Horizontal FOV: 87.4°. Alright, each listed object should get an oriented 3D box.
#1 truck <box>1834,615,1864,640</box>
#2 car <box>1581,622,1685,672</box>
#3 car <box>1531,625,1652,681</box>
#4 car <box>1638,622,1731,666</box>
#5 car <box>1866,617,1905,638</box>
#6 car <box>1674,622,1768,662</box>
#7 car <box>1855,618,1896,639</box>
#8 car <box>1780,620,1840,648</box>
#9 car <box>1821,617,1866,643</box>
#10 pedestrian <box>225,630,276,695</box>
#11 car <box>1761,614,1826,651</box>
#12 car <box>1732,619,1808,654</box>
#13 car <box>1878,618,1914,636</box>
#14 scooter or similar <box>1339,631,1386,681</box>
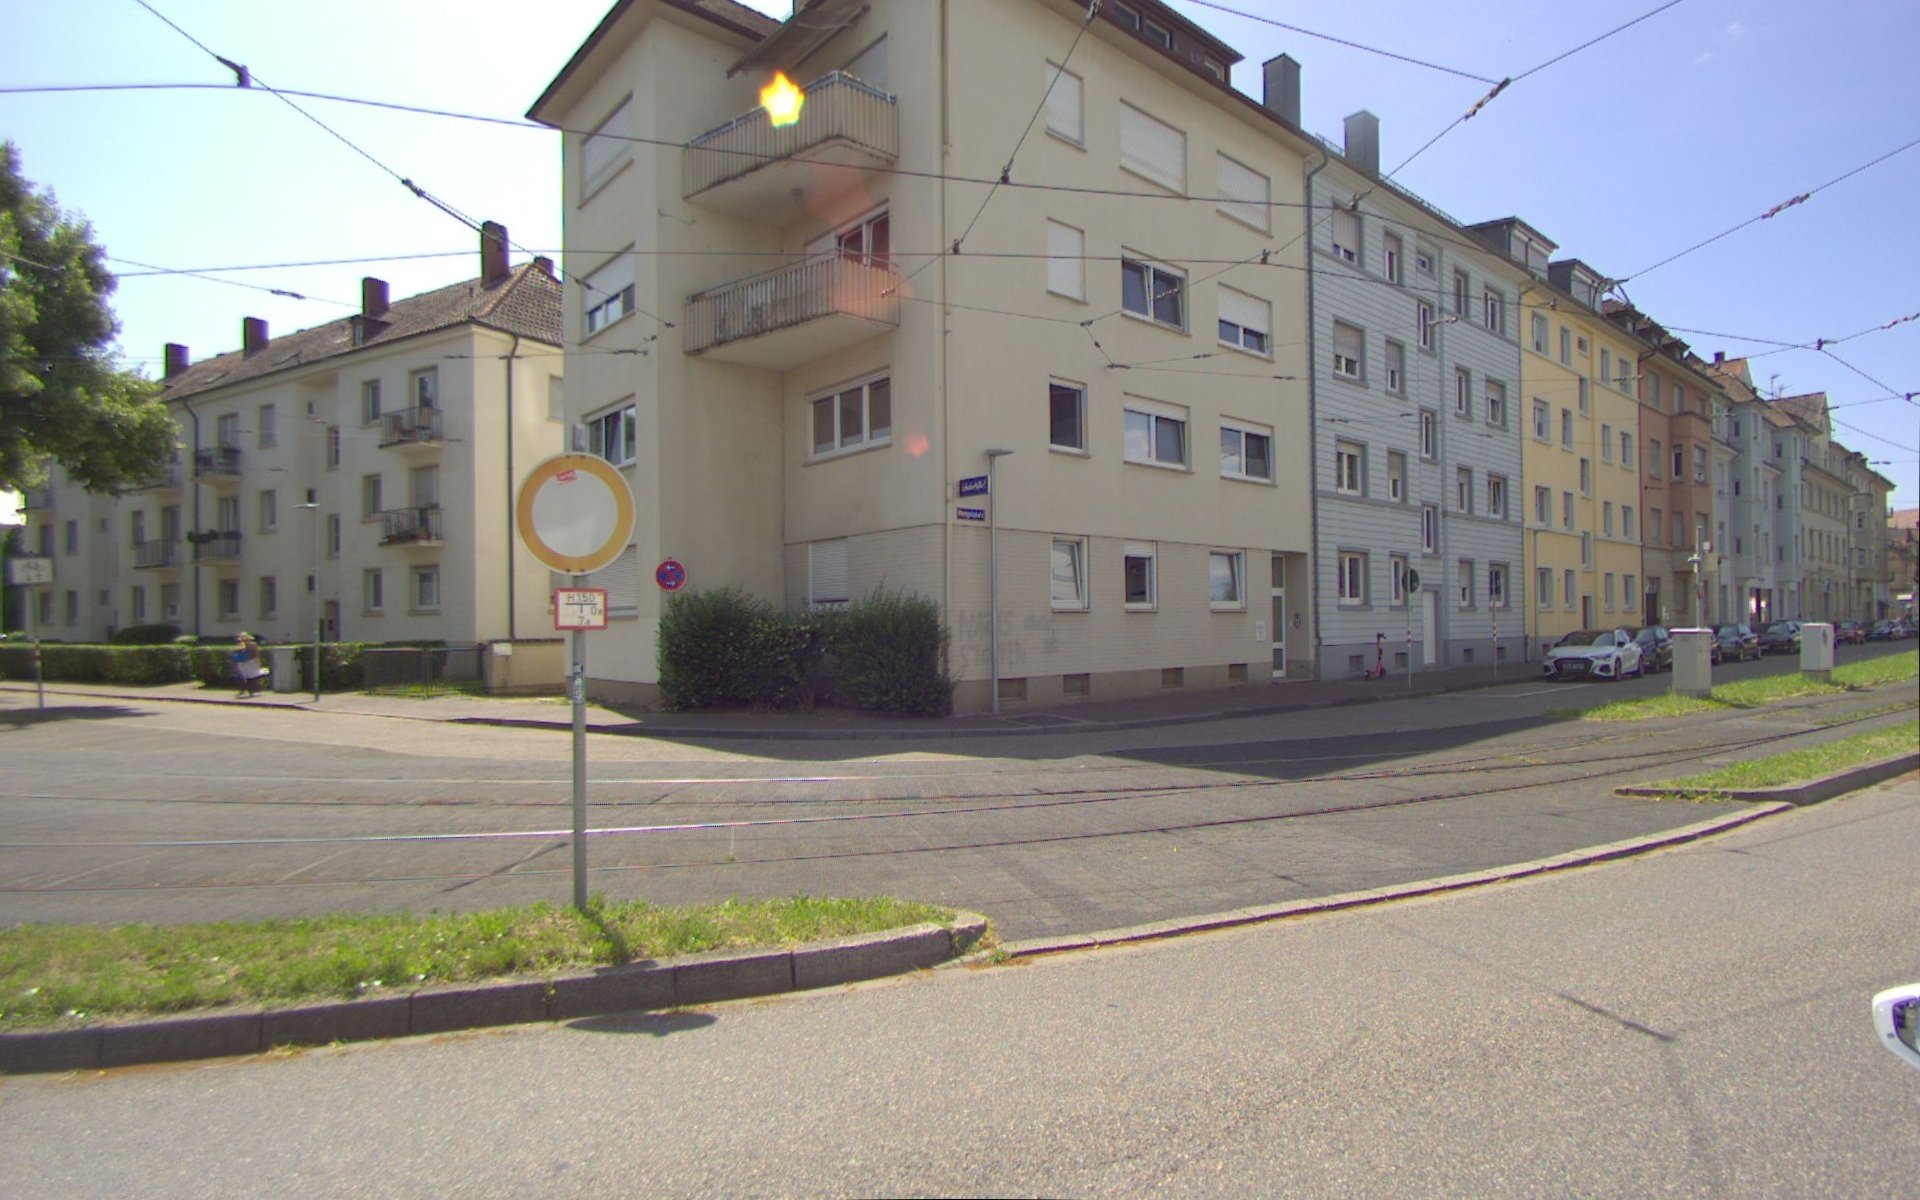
[{"bbox_3d":[55.639,1.715,62.859,2.575,1.514,1.116,1,-3,-43],"label":"truck"},{"bbox_3d":[22.110,1.507,32.930,4.295,1.525,1.910,1,-3,-43],"label":"car"},{"bbox_3d":[18.338,1.509,29.097,4.345,1.470,1.910,1,-4,-43],"label":"car"},{"bbox_3d":[25.883,1.551,35.842,4.110,1.418,1.815,0,-3,-41],"label":"car"},{"bbox_3d":[67.912,1.997,73.682,3.828,1.408,1.672,0,-3,-42],"label":"car"},{"bbox_3d":[29.964,1.641,39.521,4.823,1.416,1.912,0,-3,-40],"label":"car"},{"bbox_3d":[63.689,1.990,69.869,3.828,1.378,1.672,0,-3,-42],"label":"car"},{"bbox_3d":[44.815,1.796,52.946,4.217,1.374,1.791,0,-3,-42],"label":"car"},{"bbox_3d":[52.630,1.775,59.822,3.598,1.470,1.558,0,-3,-42],"label":"car"},{"bbox_3d":[-17.733,1.544,25.110,0.731,1.580,0.776,-1,-1,28],"label":"pedestrian"},{"bbox_3d":[41.375,1.594,49.818,4.111,1.707,1.820,0,-3,-42],"label":"car"},{"bbox_3d":[37.203,1.661,46.105,4.825,1.510,1.911,0,-3,-41],"label":"car"},{"bbox_3d":[71.588,2.063,76.815,3.263,1.294,1.672,0,-3,-41],"label":"car"},{"bbox_3d":[10.639,1.465,26.543,1.310,1.239,0.632,0,0,-41],"label":"scooter or similar"}]
